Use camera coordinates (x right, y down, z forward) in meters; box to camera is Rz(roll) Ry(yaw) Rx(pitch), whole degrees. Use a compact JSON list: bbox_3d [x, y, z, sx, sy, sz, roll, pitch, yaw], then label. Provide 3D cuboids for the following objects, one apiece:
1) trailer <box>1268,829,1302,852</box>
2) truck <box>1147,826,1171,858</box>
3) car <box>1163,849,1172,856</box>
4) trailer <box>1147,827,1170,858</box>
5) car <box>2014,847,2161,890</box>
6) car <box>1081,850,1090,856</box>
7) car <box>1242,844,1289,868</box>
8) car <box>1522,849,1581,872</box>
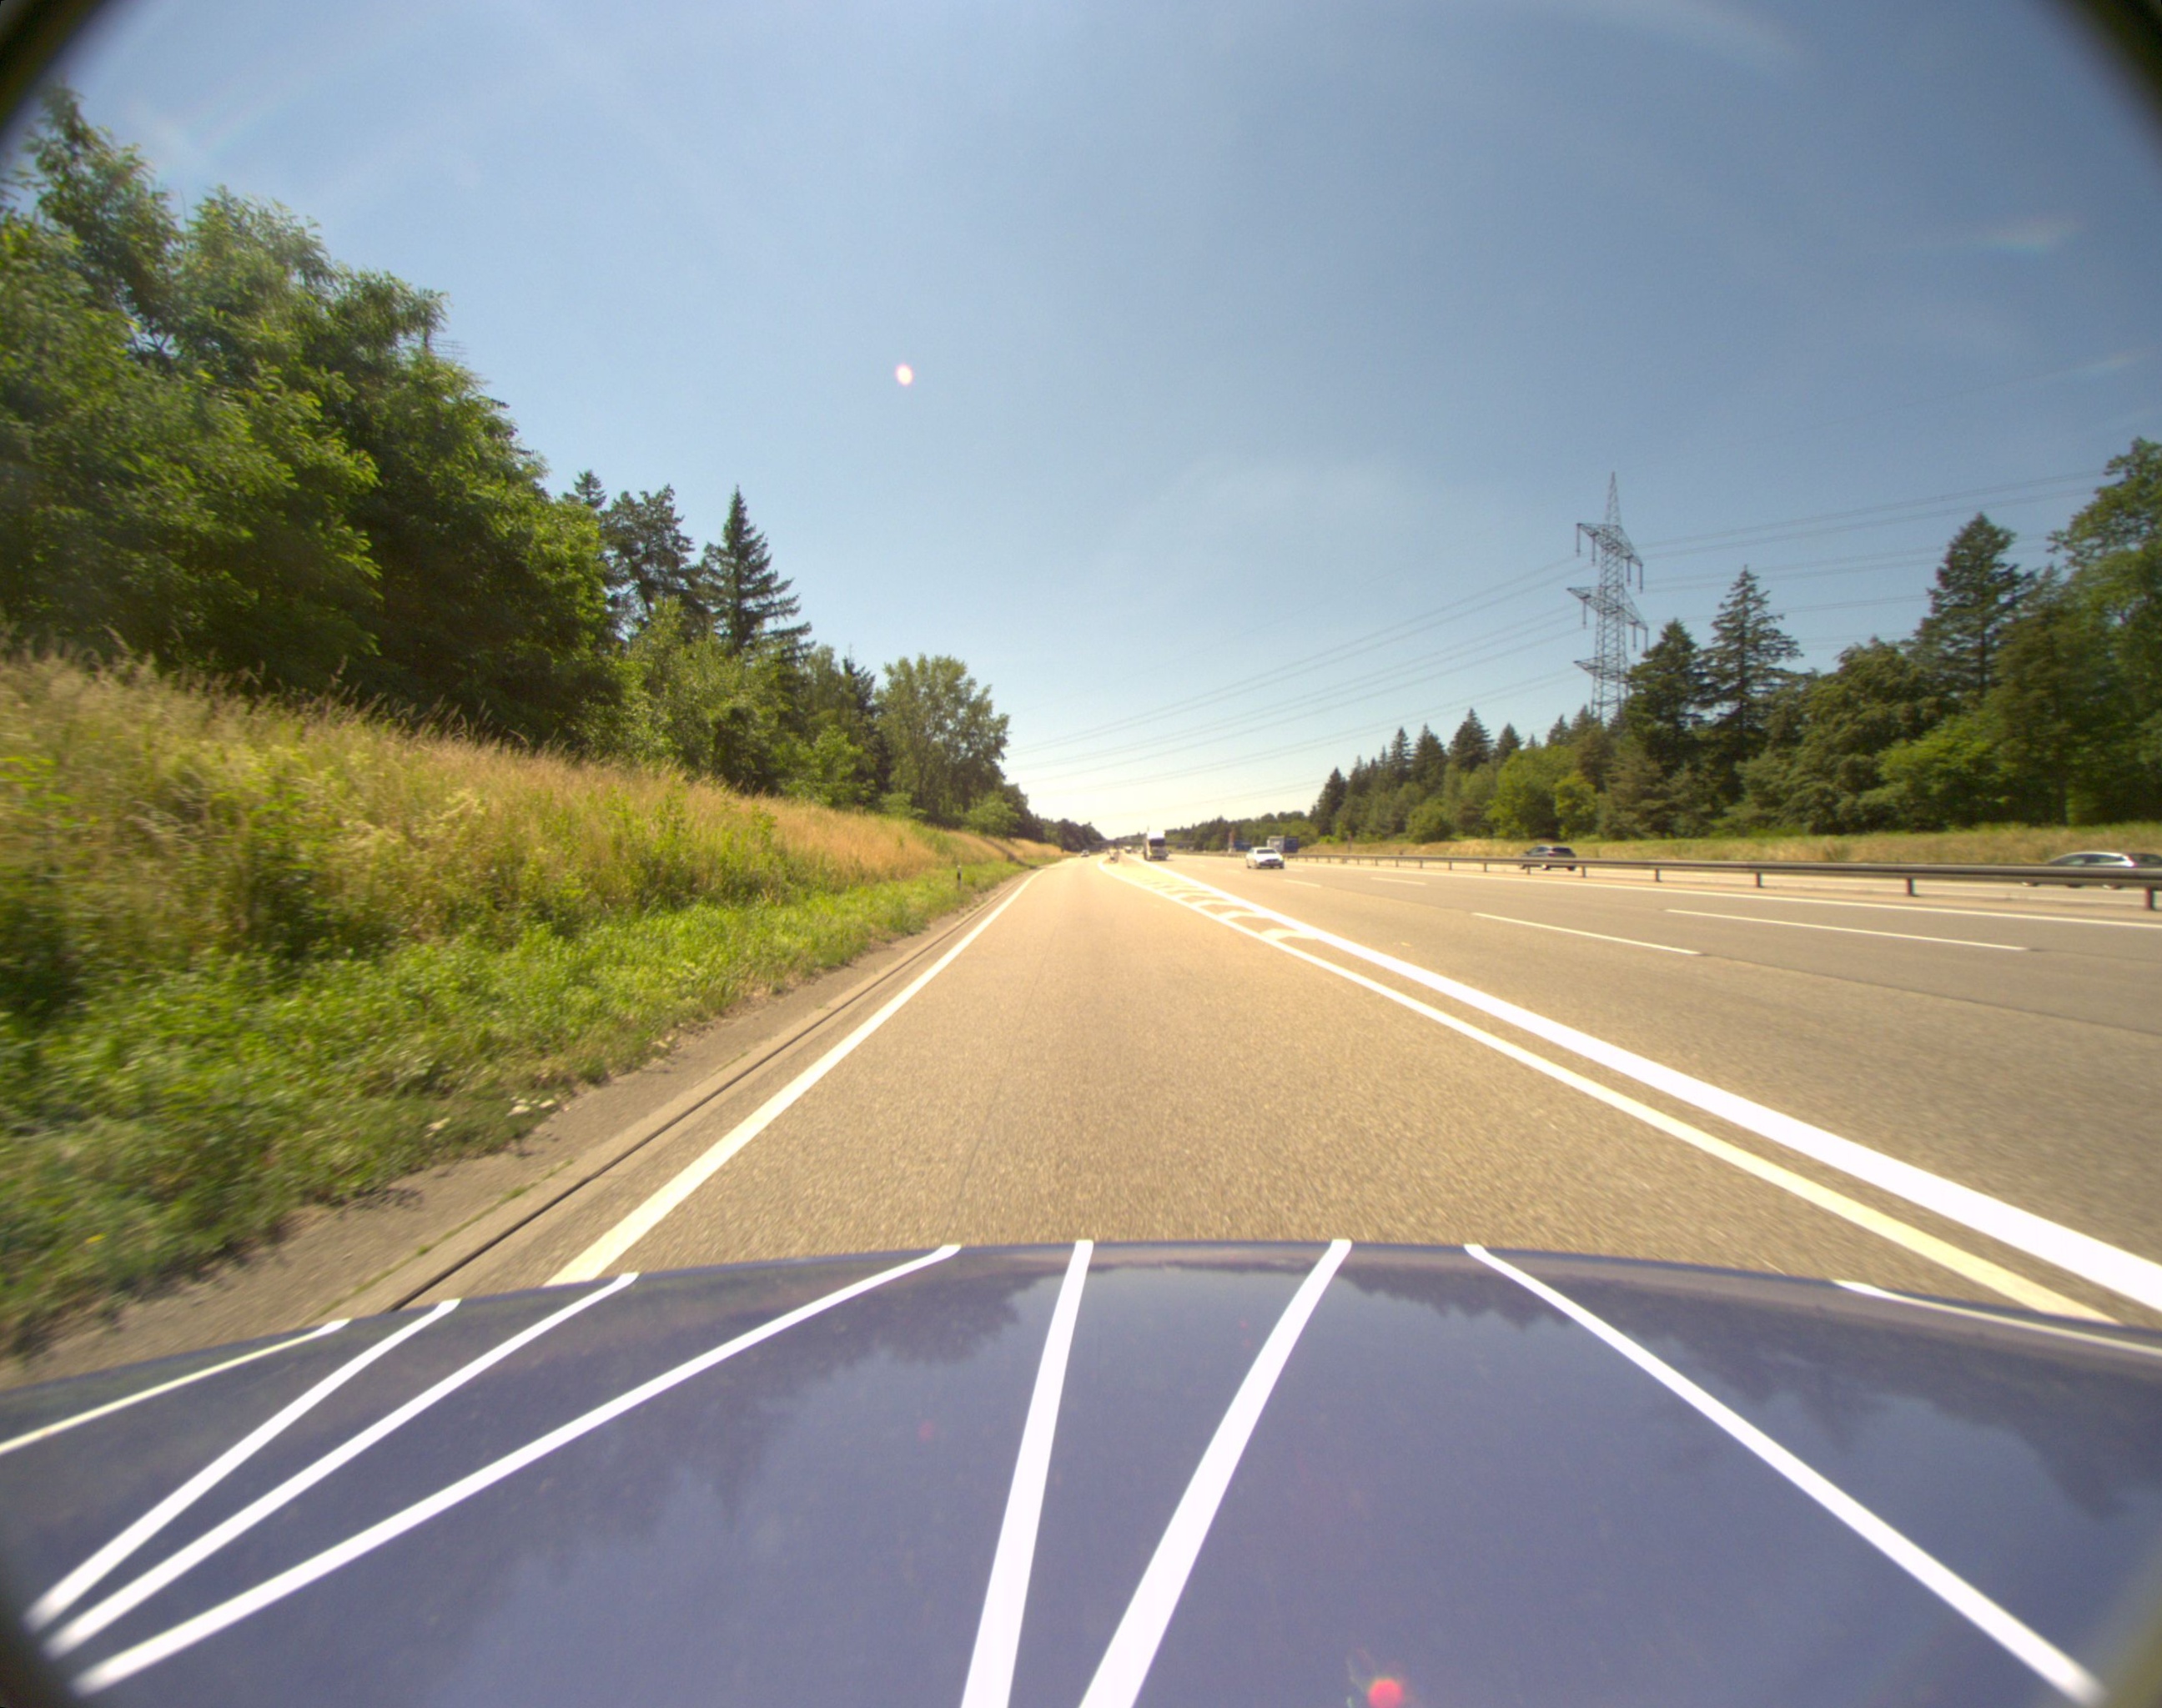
[{"bbox_3d":[38.535,-2.531,143.892,3.210,4.148,13.985,0,0,3],"label":"trailer"},{"bbox_3d":[10.573,-1.553,103.430,2.979,4.118,5.351,-1,0,5],"label":"truck"},{"bbox_3d":[18.591,-0.328,163.114,1.898,1.417,4.263,-2,0,5],"label":"car"},{"bbox_3d":[11.062,-1.576,109.299,2.981,4.118,11.700,-1,0,5],"label":"trailer"},{"bbox_3d":[38.358,0.507,28.828,1.625,1.469,3.567,-1,0,3],"label":"car"},{"bbox_3d":[1.248,-0.345,207.401,1.898,1.417,4.263,-2,0,5],"label":"car"},{"bbox_3d":[12.740,0.097,52.879,1.968,1.495,5.404,-2,1,1],"label":"car"},{"bbox_3d":[29.073,0.376,47.043,1.566,1.348,3.567,-1,0,3],"label":"car"}]
